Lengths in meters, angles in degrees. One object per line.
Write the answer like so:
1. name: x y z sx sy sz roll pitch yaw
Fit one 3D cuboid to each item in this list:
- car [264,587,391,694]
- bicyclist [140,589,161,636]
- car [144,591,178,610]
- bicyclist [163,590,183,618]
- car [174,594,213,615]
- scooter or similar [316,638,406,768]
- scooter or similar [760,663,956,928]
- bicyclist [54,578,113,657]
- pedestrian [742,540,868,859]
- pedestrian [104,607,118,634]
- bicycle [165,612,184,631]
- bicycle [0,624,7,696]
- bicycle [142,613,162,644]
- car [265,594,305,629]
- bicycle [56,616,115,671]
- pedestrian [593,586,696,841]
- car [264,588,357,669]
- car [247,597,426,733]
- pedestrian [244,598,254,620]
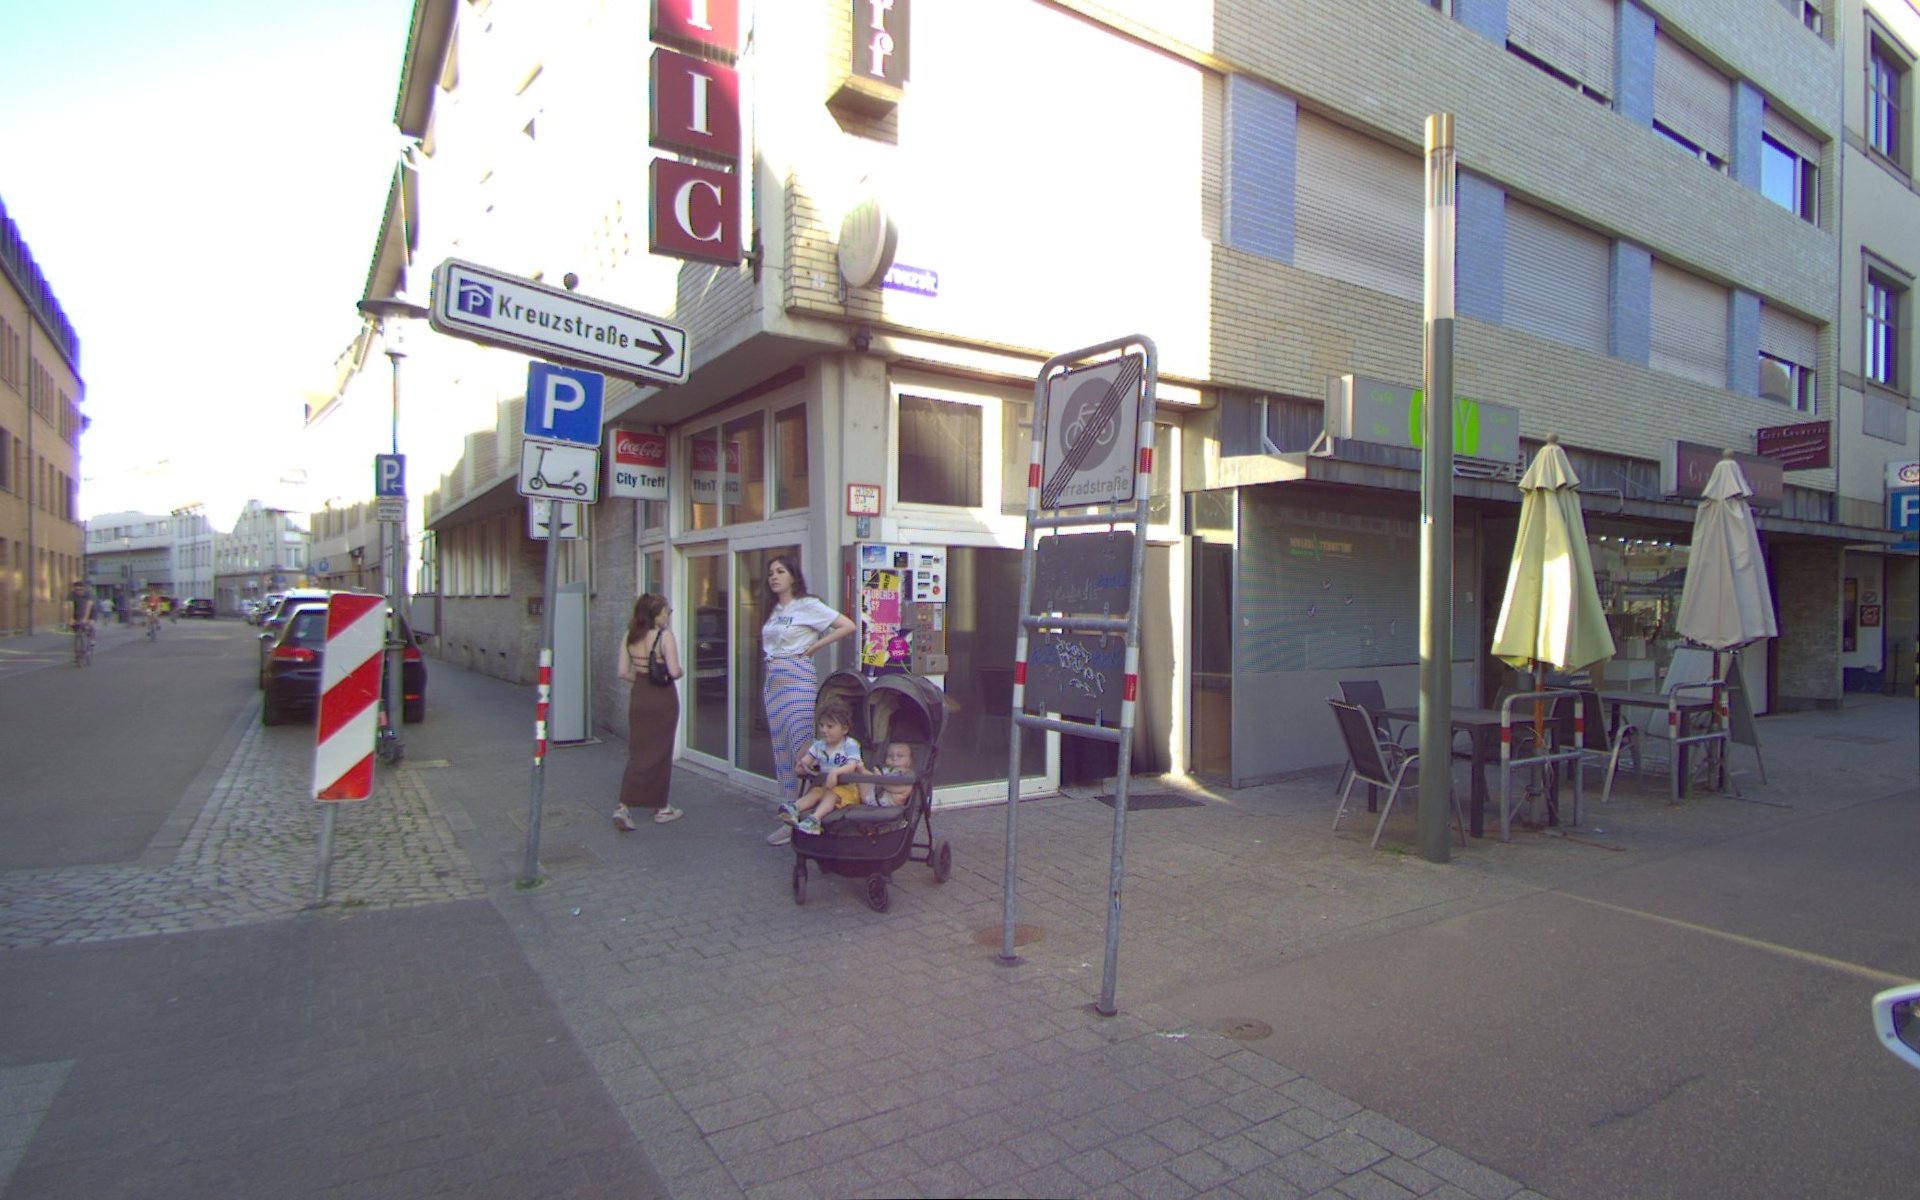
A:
1. car: -11.247 0.680 17.853 1.656 1.683 4.043 3 -2 -33
2. bicyclist: -26.596 0.396 33.013 0.424 1.518 0.867 -2 1 -35
3. car: -74.239 0.054 93.303 3.782 1.673 1.925 1 -1 43
4. bicyclist: -48.059 0.262 61.332 0.944 1.678 0.768 -1 2 45
5. car: -62.629 0.393 82.048 3.782 1.673 1.925 0 0 43
6. scooter or similar: -5.730 0.969 9.603 0.865 1.199 0.208 0 0 17
7. scooter or similar: -0.490 0.945 5.212 0.783 1.159 0.954 0 1 9
8. bicyclist: -18.276 0.346 20.975 0.642 1.579 1.101 -3 2 -30
9. pedestrian: -0.930 0.577 6.164 0.647 1.844 0.570 -2 1 -3
10. pedestrian: -48.620 1.176 57.507 0.538 1.565 0.401 2 -1 -35
11. bicycle: -47.932 1.319 61.288 0.700 1.118 1.803 -4 2 -44
12. bicycle: -14.446 0.919 14.537 0.585 1.066 1.784 -2 1 -33
13. bicycle: -26.506 0.924 32.964 0.432 0.970 1.574 0 0 -36
14. car: -37.585 0.630 55.892 1.677 1.798 3.619 3 -2 -35
15. bicycle: -18.273 0.881 21.021 0.567 1.065 1.821 -2 1 -30
16. pedestrian: -2.111 0.722 6.704 0.504 1.601 0.530 -3 1 -29
17. car: -15.370 0.659 23.793 1.656 1.727 3.976 3 -2 -33
18. car: -8.286 0.761 13.351 1.723 1.505 3.776 3 -1 -33
19. pedestrian: -49.713 0.636 70.223 0.567 1.499 0.468 0 0 -41
